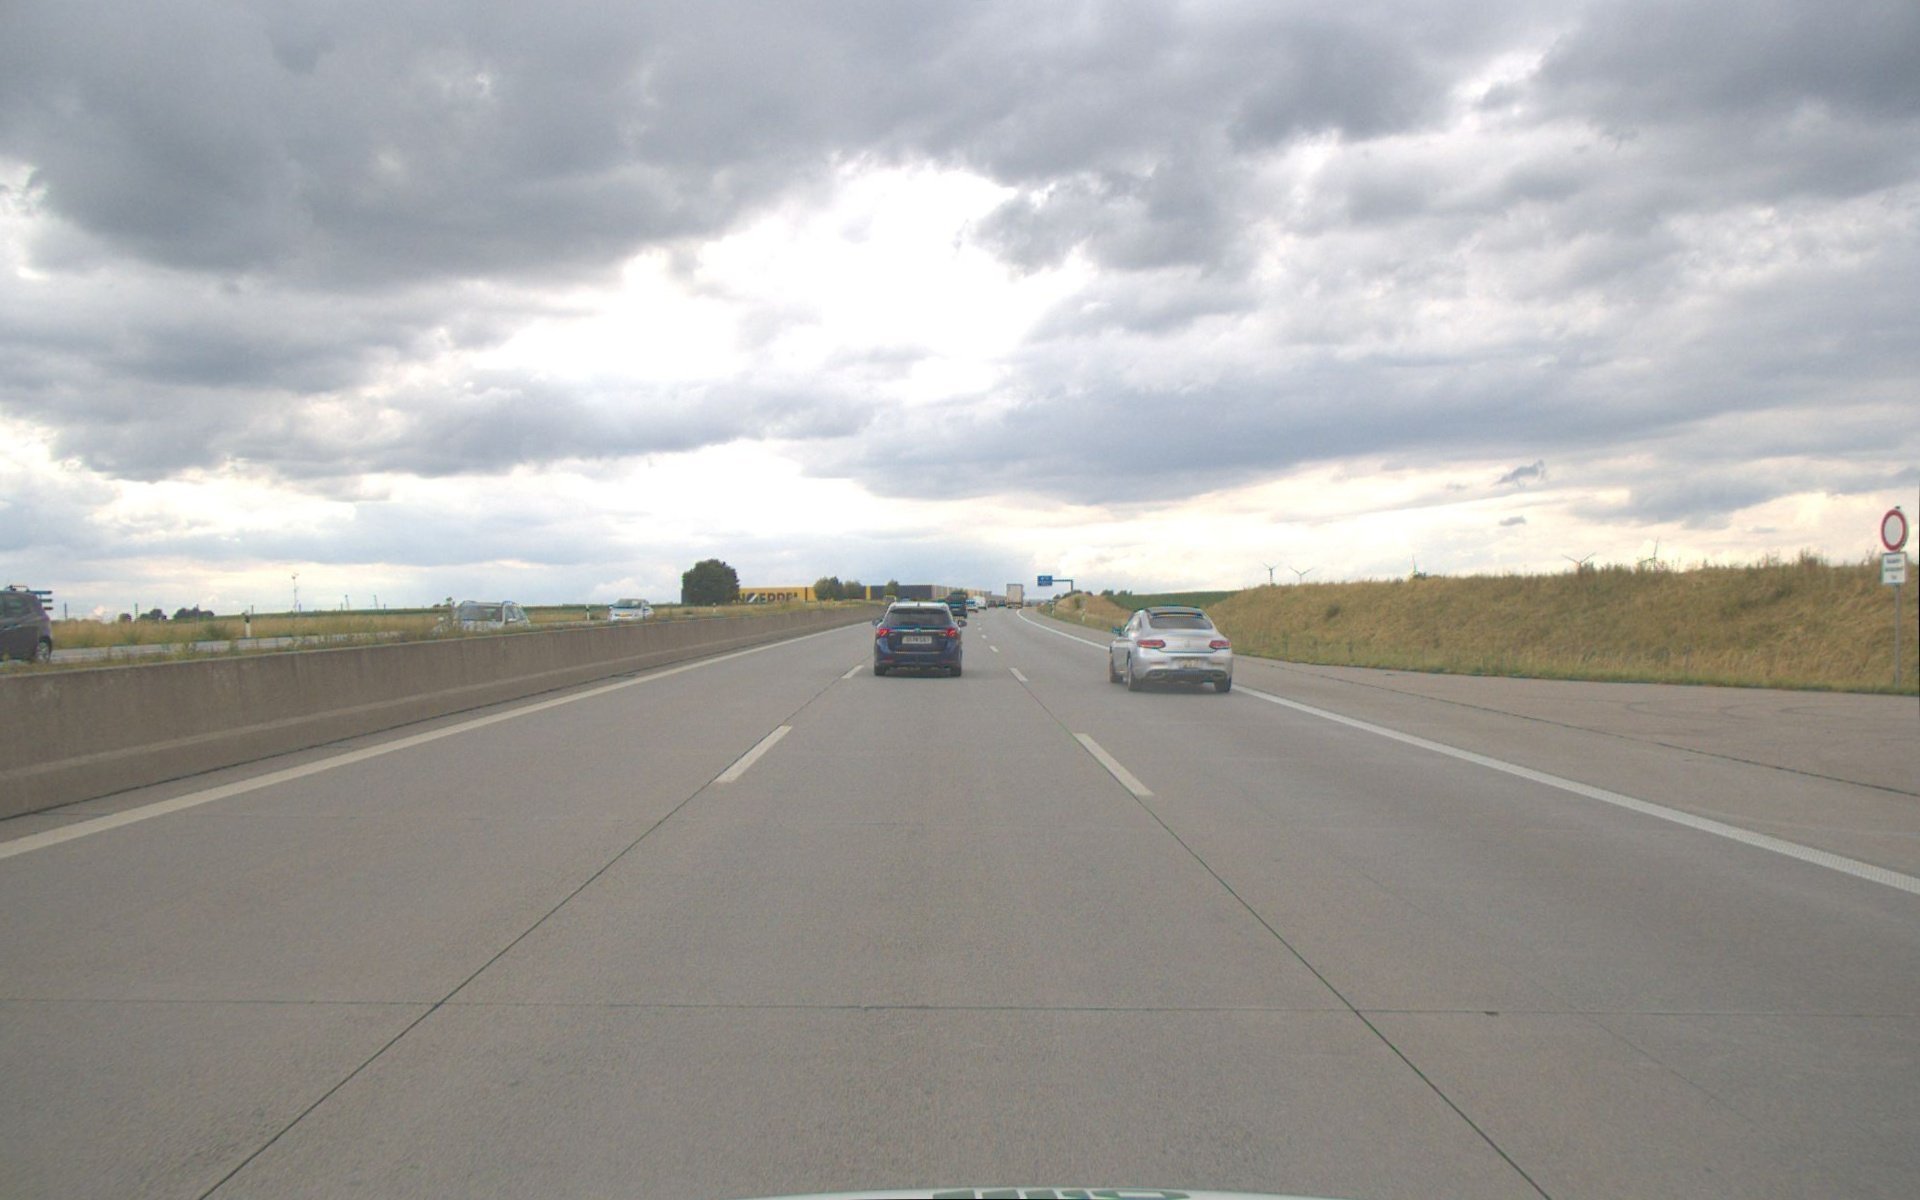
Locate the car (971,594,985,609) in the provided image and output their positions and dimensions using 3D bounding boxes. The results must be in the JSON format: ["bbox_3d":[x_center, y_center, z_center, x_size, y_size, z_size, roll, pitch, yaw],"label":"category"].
[{"bbox_3d":[2.603,0.201,241.160,1.953,2.049,3.999,1,-1,0],"label":"car"}]

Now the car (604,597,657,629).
[{"bbox_3d":[-16.492,0.652,82.944,1.742,1.533,4.516,1,-1,0],"label":"car"}]

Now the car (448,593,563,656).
[{"bbox_3d":[-11.945,0.646,43.787,1.689,1.564,5.038,1,-1,-1],"label":"car"}]

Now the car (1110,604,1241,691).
[{"bbox_3d":[3.754,0.805,29.469,1.752,1.428,4.220,0,0,0],"label":"car"}]

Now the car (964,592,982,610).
[{"bbox_3d":[1.528,0.151,191.492,1.952,2.049,4.000,2,0,1],"label":"car"}]

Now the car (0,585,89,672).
[{"bbox_3d":[-19.542,0.543,33.014,1.713,1.669,4.943,1,0,-1],"label":"car"}]

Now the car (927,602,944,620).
[{"bbox_3d":[-2.967,1.365,199.312,2.004,2.049,3.999,1,-1,-1],"label":"car"}]

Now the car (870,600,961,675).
[{"bbox_3d":[-0.926,0.742,33.868,1.739,1.438,3.998,0,0,-2],"label":"car"}]

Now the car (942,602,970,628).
[{"bbox_3d":[-0.330,1.223,135.948,1.954,2.049,3.996,1,-1,-5],"label":"car"}]
